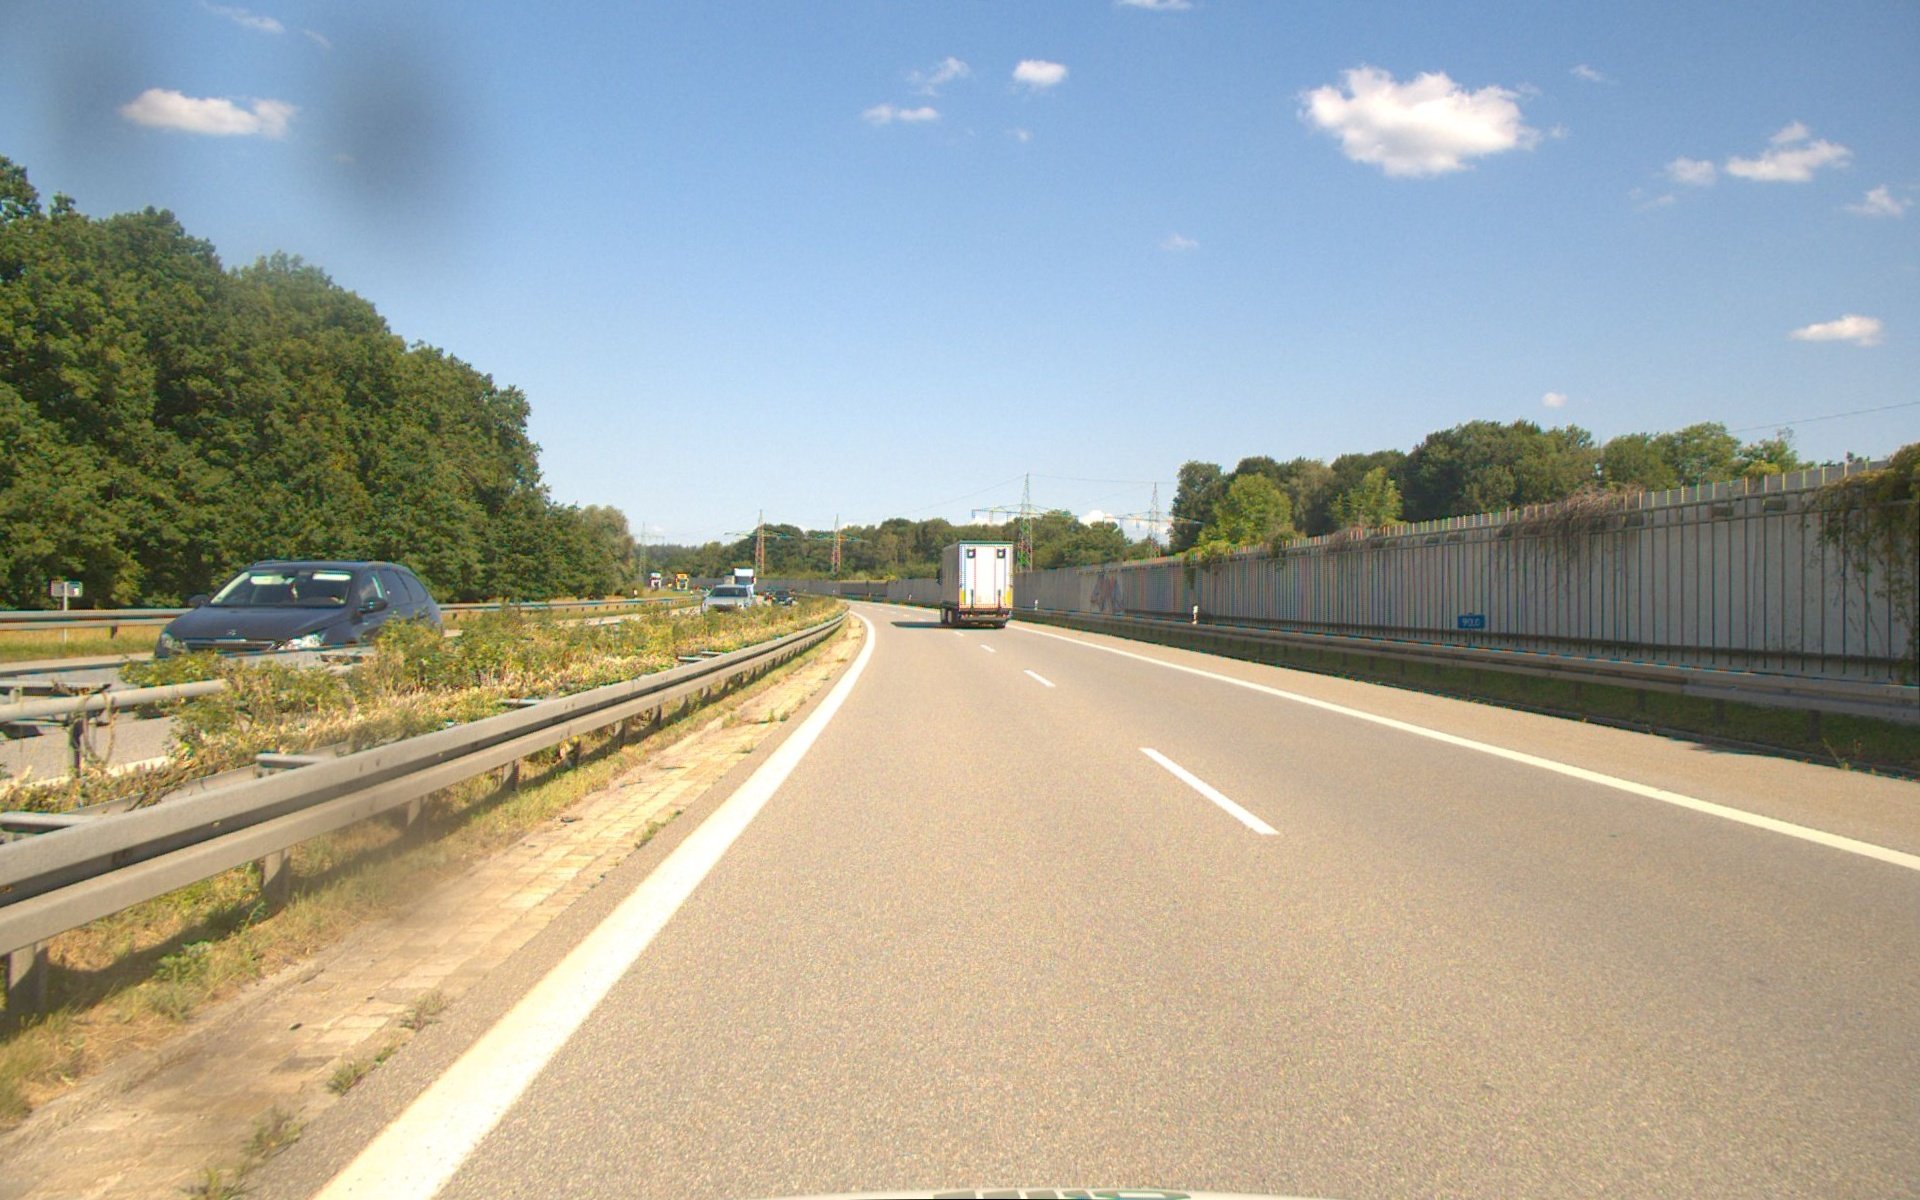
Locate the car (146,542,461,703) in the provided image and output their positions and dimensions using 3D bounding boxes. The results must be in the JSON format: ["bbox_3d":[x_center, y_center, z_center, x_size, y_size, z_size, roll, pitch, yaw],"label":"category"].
[{"bbox_3d":[-6.807,0.206,17.632,1.816,1.508,3.999,0,0,-1],"label":"car"}]

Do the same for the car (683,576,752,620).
[{"bbox_3d":[-8.703,-0.083,59.734,1.892,1.531,4.792,0,0,-1],"label":"car"}]

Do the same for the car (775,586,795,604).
[{"bbox_3d":[-14.543,-0.443,137.567,1.627,1.475,4.242,0,1,-6],"label":"car"}]

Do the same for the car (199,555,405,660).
[{"bbox_3d":[-11.210,0.111,28.528,1.816,1.663,4.492,0,0,-1],"label":"car"}]

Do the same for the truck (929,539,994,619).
[{"bbox_3d":[0.012,-1.081,88.657,2.776,4.082,6.579,1,0,-6],"label":"truck"}]

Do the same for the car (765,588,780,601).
[{"bbox_3d":[-23.387,-0.685,205.956,1.807,1.634,3.993,0,0,-7],"label":"car"}]

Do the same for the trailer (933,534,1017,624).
[{"bbox_3d":[0.620,-0.993,82.696,2.828,4.137,12.404,1,0,-6],"label":"trailer"}]
